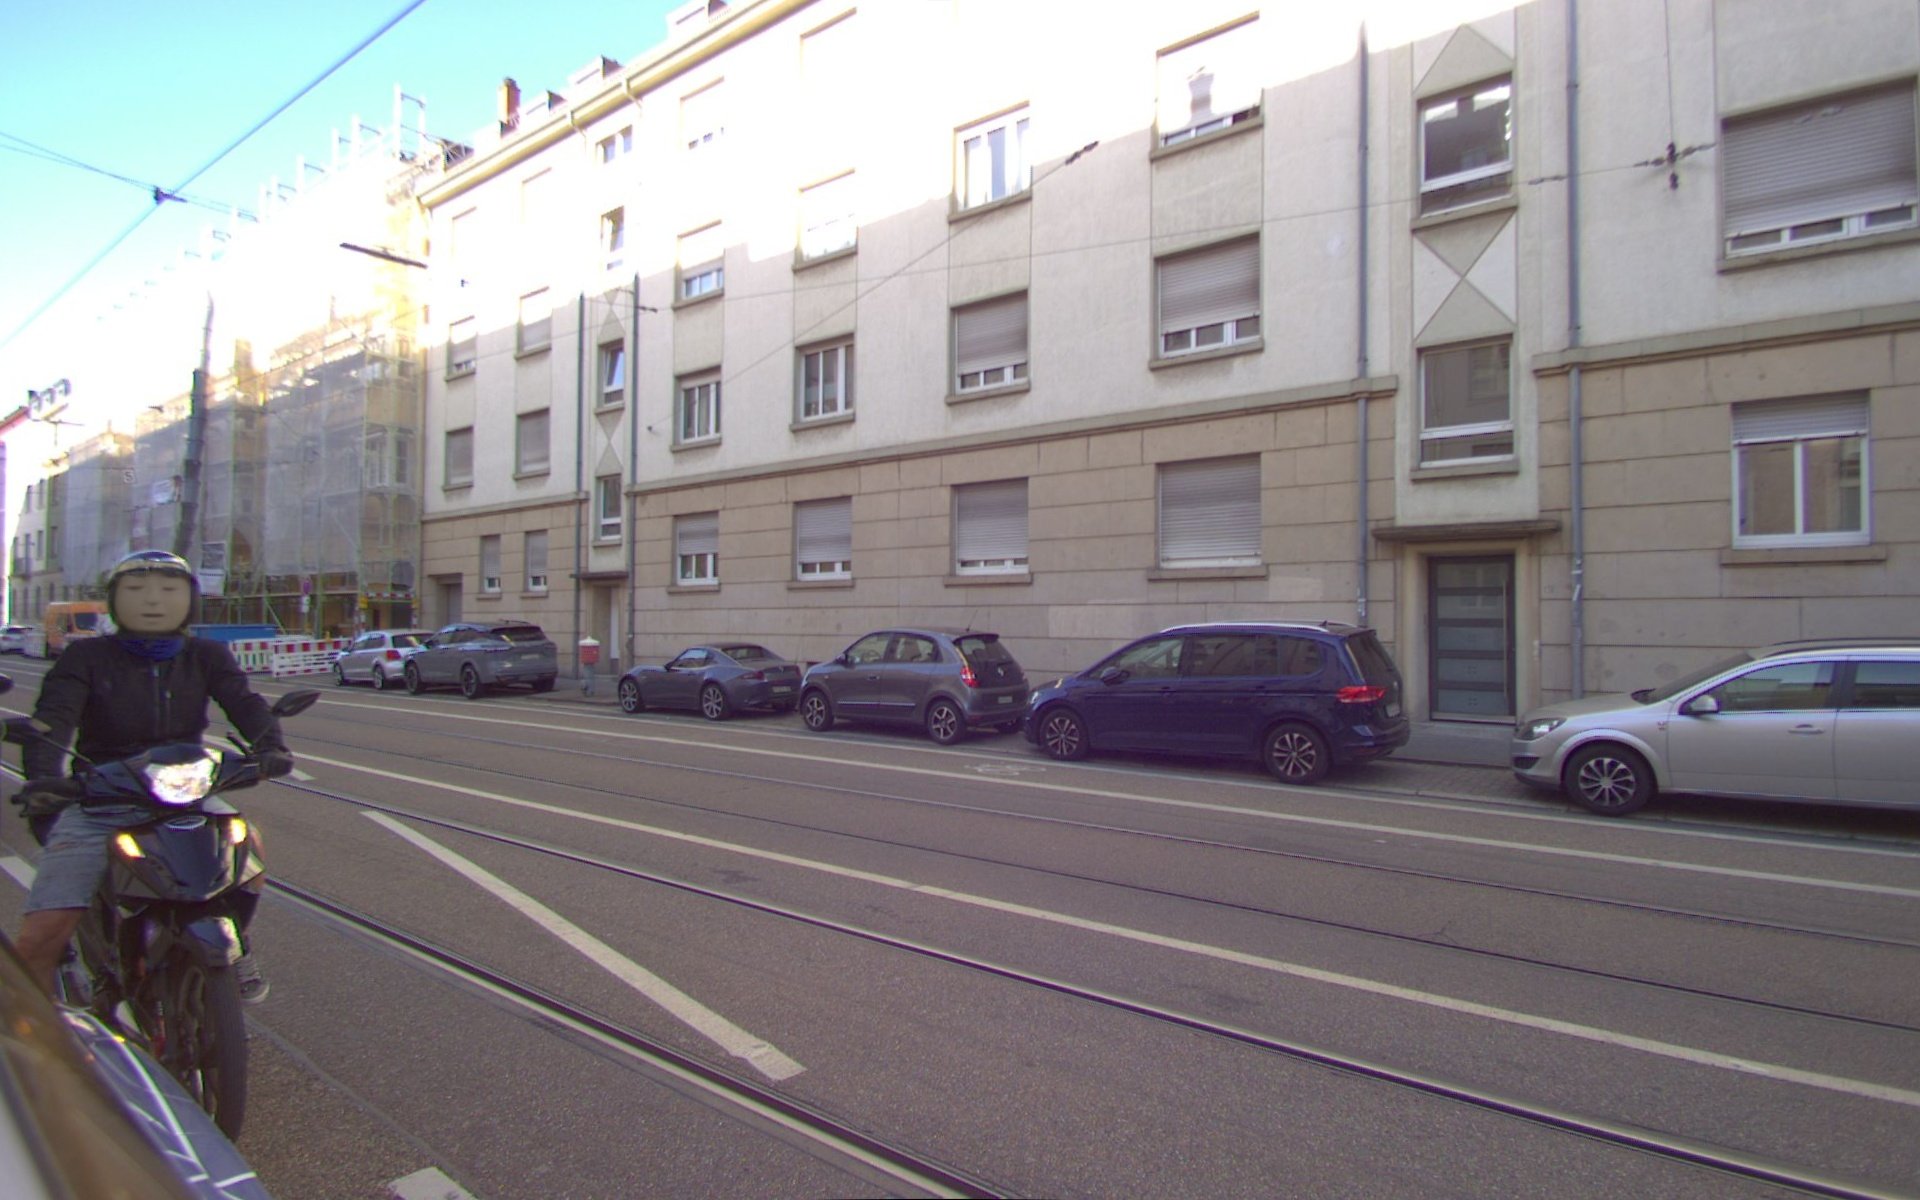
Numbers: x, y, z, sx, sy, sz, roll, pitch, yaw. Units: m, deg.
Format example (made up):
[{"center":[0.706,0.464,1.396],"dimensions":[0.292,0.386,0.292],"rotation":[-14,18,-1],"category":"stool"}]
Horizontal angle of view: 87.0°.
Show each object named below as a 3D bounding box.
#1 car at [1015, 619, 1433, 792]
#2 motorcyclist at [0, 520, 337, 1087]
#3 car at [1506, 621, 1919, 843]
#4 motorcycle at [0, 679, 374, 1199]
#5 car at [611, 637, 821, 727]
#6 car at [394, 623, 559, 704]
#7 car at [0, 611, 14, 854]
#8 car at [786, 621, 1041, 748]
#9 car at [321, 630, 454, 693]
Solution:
[{"center":[2.945,1.043,11.702],"dimensions":[4.285,1.597,1.887],"rotation":[-1,0,37],"category":"car"},{"center":[-2.553,0.543,3.193],"dimensions":[0.598,1.516,0.851],"rotation":[-1,0,41],"category":"motorcyclist"},{"center":[7.226,0.992,8.533],"dimensions":[4.358,1.571,1.975],"rotation":[-1,0,38],"category":"car"},{"center":[-2.428,0.911,3.054],"dimensions":[1.980,1.228,0.532],"rotation":[-1,0,41],"category":"motorcycle"},{"center":[-4.263,1.344,17.548],"dimensions":[3.483,1.286,1.730],"rotation":[-1,0,37],"category":"car"},{"center":[-10.872,1.348,22.665],"dimensions":[4.108,1.603,1.691],"rotation":[-1,0,38],"category":"car"},{"center":[-8.031,0.844,7.016],"dimensions":[3.997,1.515,1.670],"rotation":[-2,-3,40],"category":"car"},{"center":[-0.730,1.118,14.714],"dimensions":[3.493,1.584,1.650],"rotation":[-1,0,38],"category":"car"},{"center":[-14.459,1.495,25.494],"dimensions":[3.639,1.402,1.617],"rotation":[-1,0,37],"category":"car"}]
